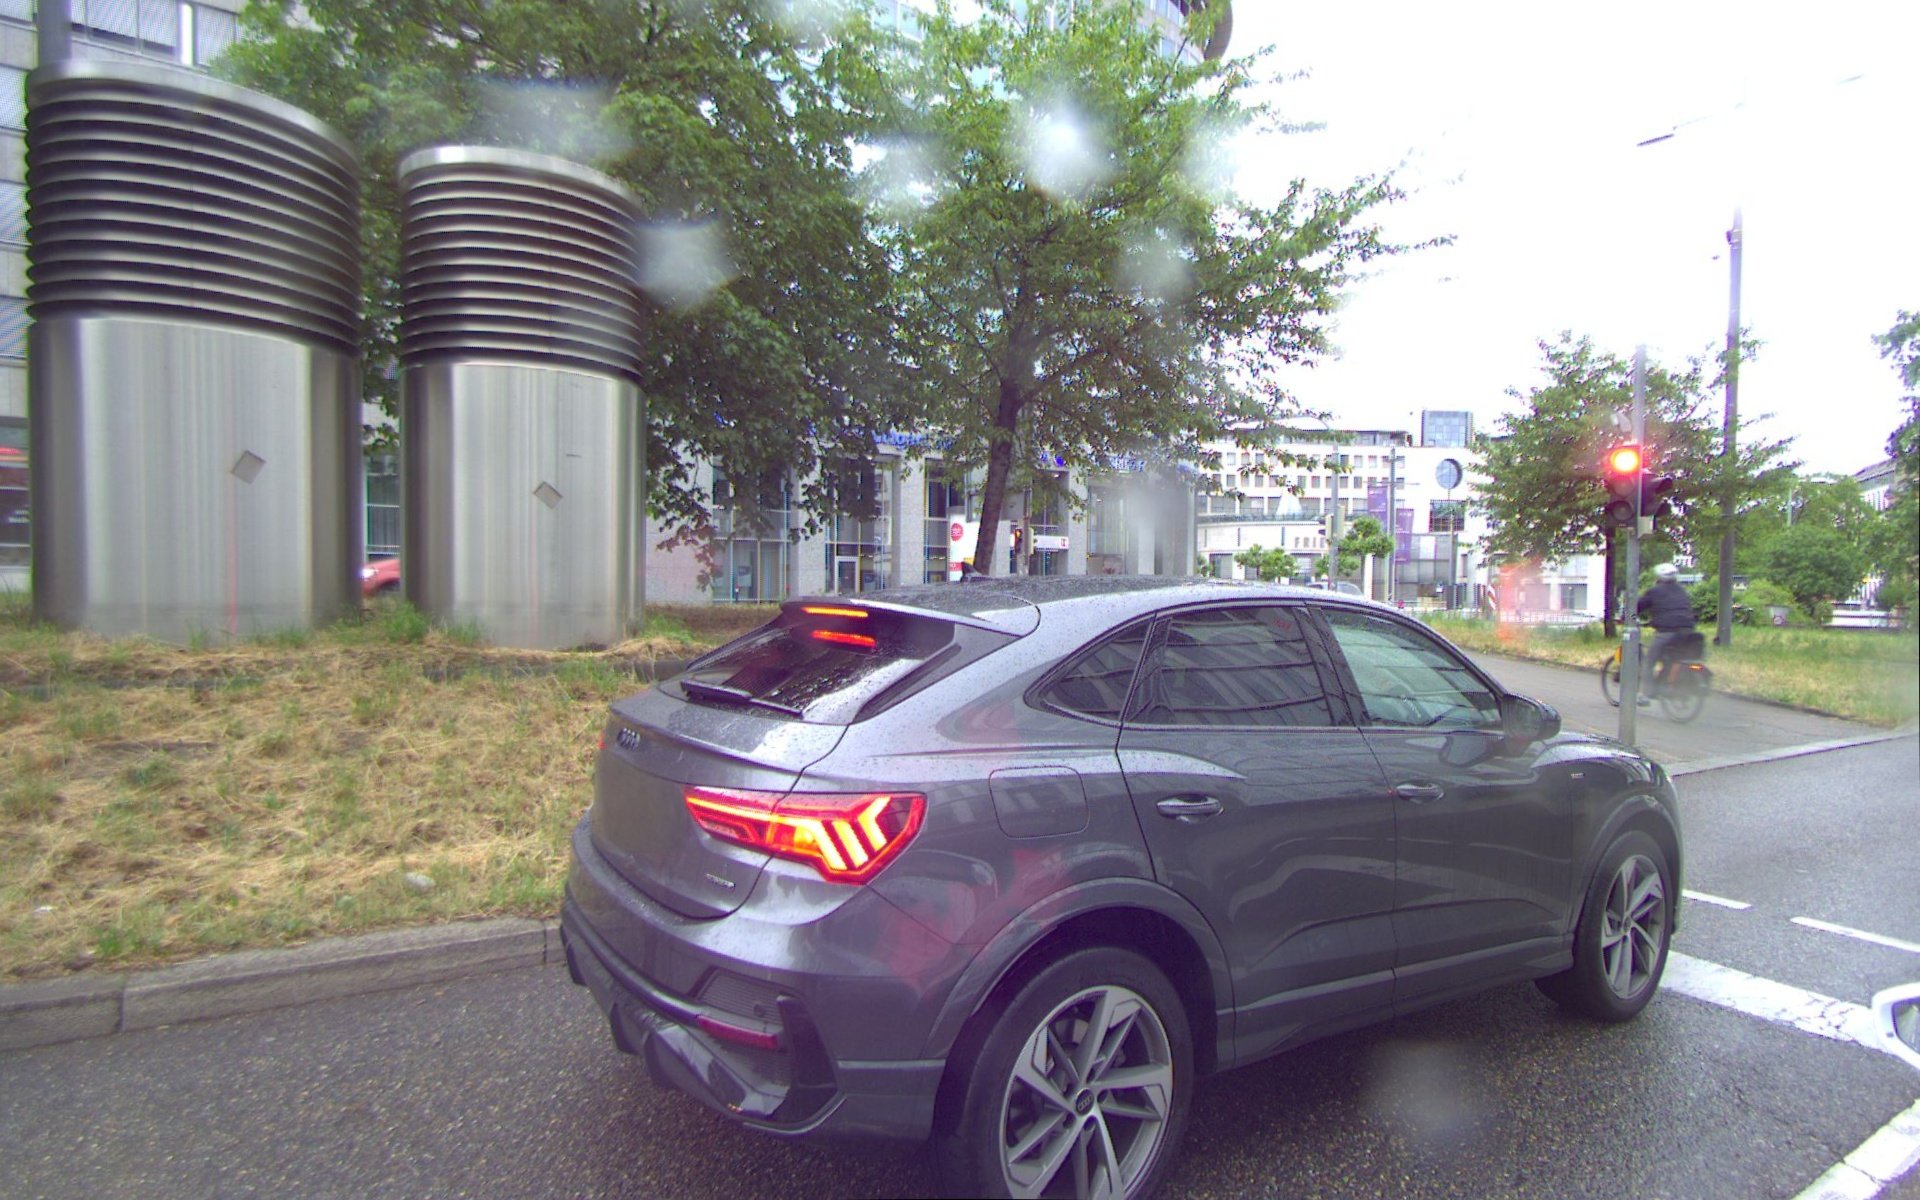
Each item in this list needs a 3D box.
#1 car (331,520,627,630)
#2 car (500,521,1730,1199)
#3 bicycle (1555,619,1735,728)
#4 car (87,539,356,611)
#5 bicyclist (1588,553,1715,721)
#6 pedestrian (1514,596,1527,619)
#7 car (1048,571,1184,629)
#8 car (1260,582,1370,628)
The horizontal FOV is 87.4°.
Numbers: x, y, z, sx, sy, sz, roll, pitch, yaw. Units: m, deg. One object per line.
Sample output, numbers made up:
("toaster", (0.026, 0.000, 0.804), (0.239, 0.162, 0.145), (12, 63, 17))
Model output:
("car", (-8.576, -0.398, 18.137), (4.543, 1.750, 1.710), (1, 1, -39))
("car", (0.800, 0.674, 3.583), (4.208, 1.638, 1.836), (0, 2, -34))
("bicycle", (9.079, 0.930, 13.447), (0.748, 1.161, 2.130), (1, 3, -5))
("car", (-15.532, -0.485, 21.361), (4.435, 1.343, 1.878), (1, 1, -37))
("bicyclist", (9.105, 0.453, 13.277), (0.748, 2.111, 1.084), (1, 4, -5))
("pedestrian", (51.605, 0.689, 92.435), (0.735, 2.041, 0.781), (0, 3, -44))
("car", (4.606, 0.007, 29.352), (3.971, 1.506, 1.787), (1, 3, -43))
("car", (13.016, 0.198, 36.745), (4.347, 1.506, 1.789), (1, 3, -40))
